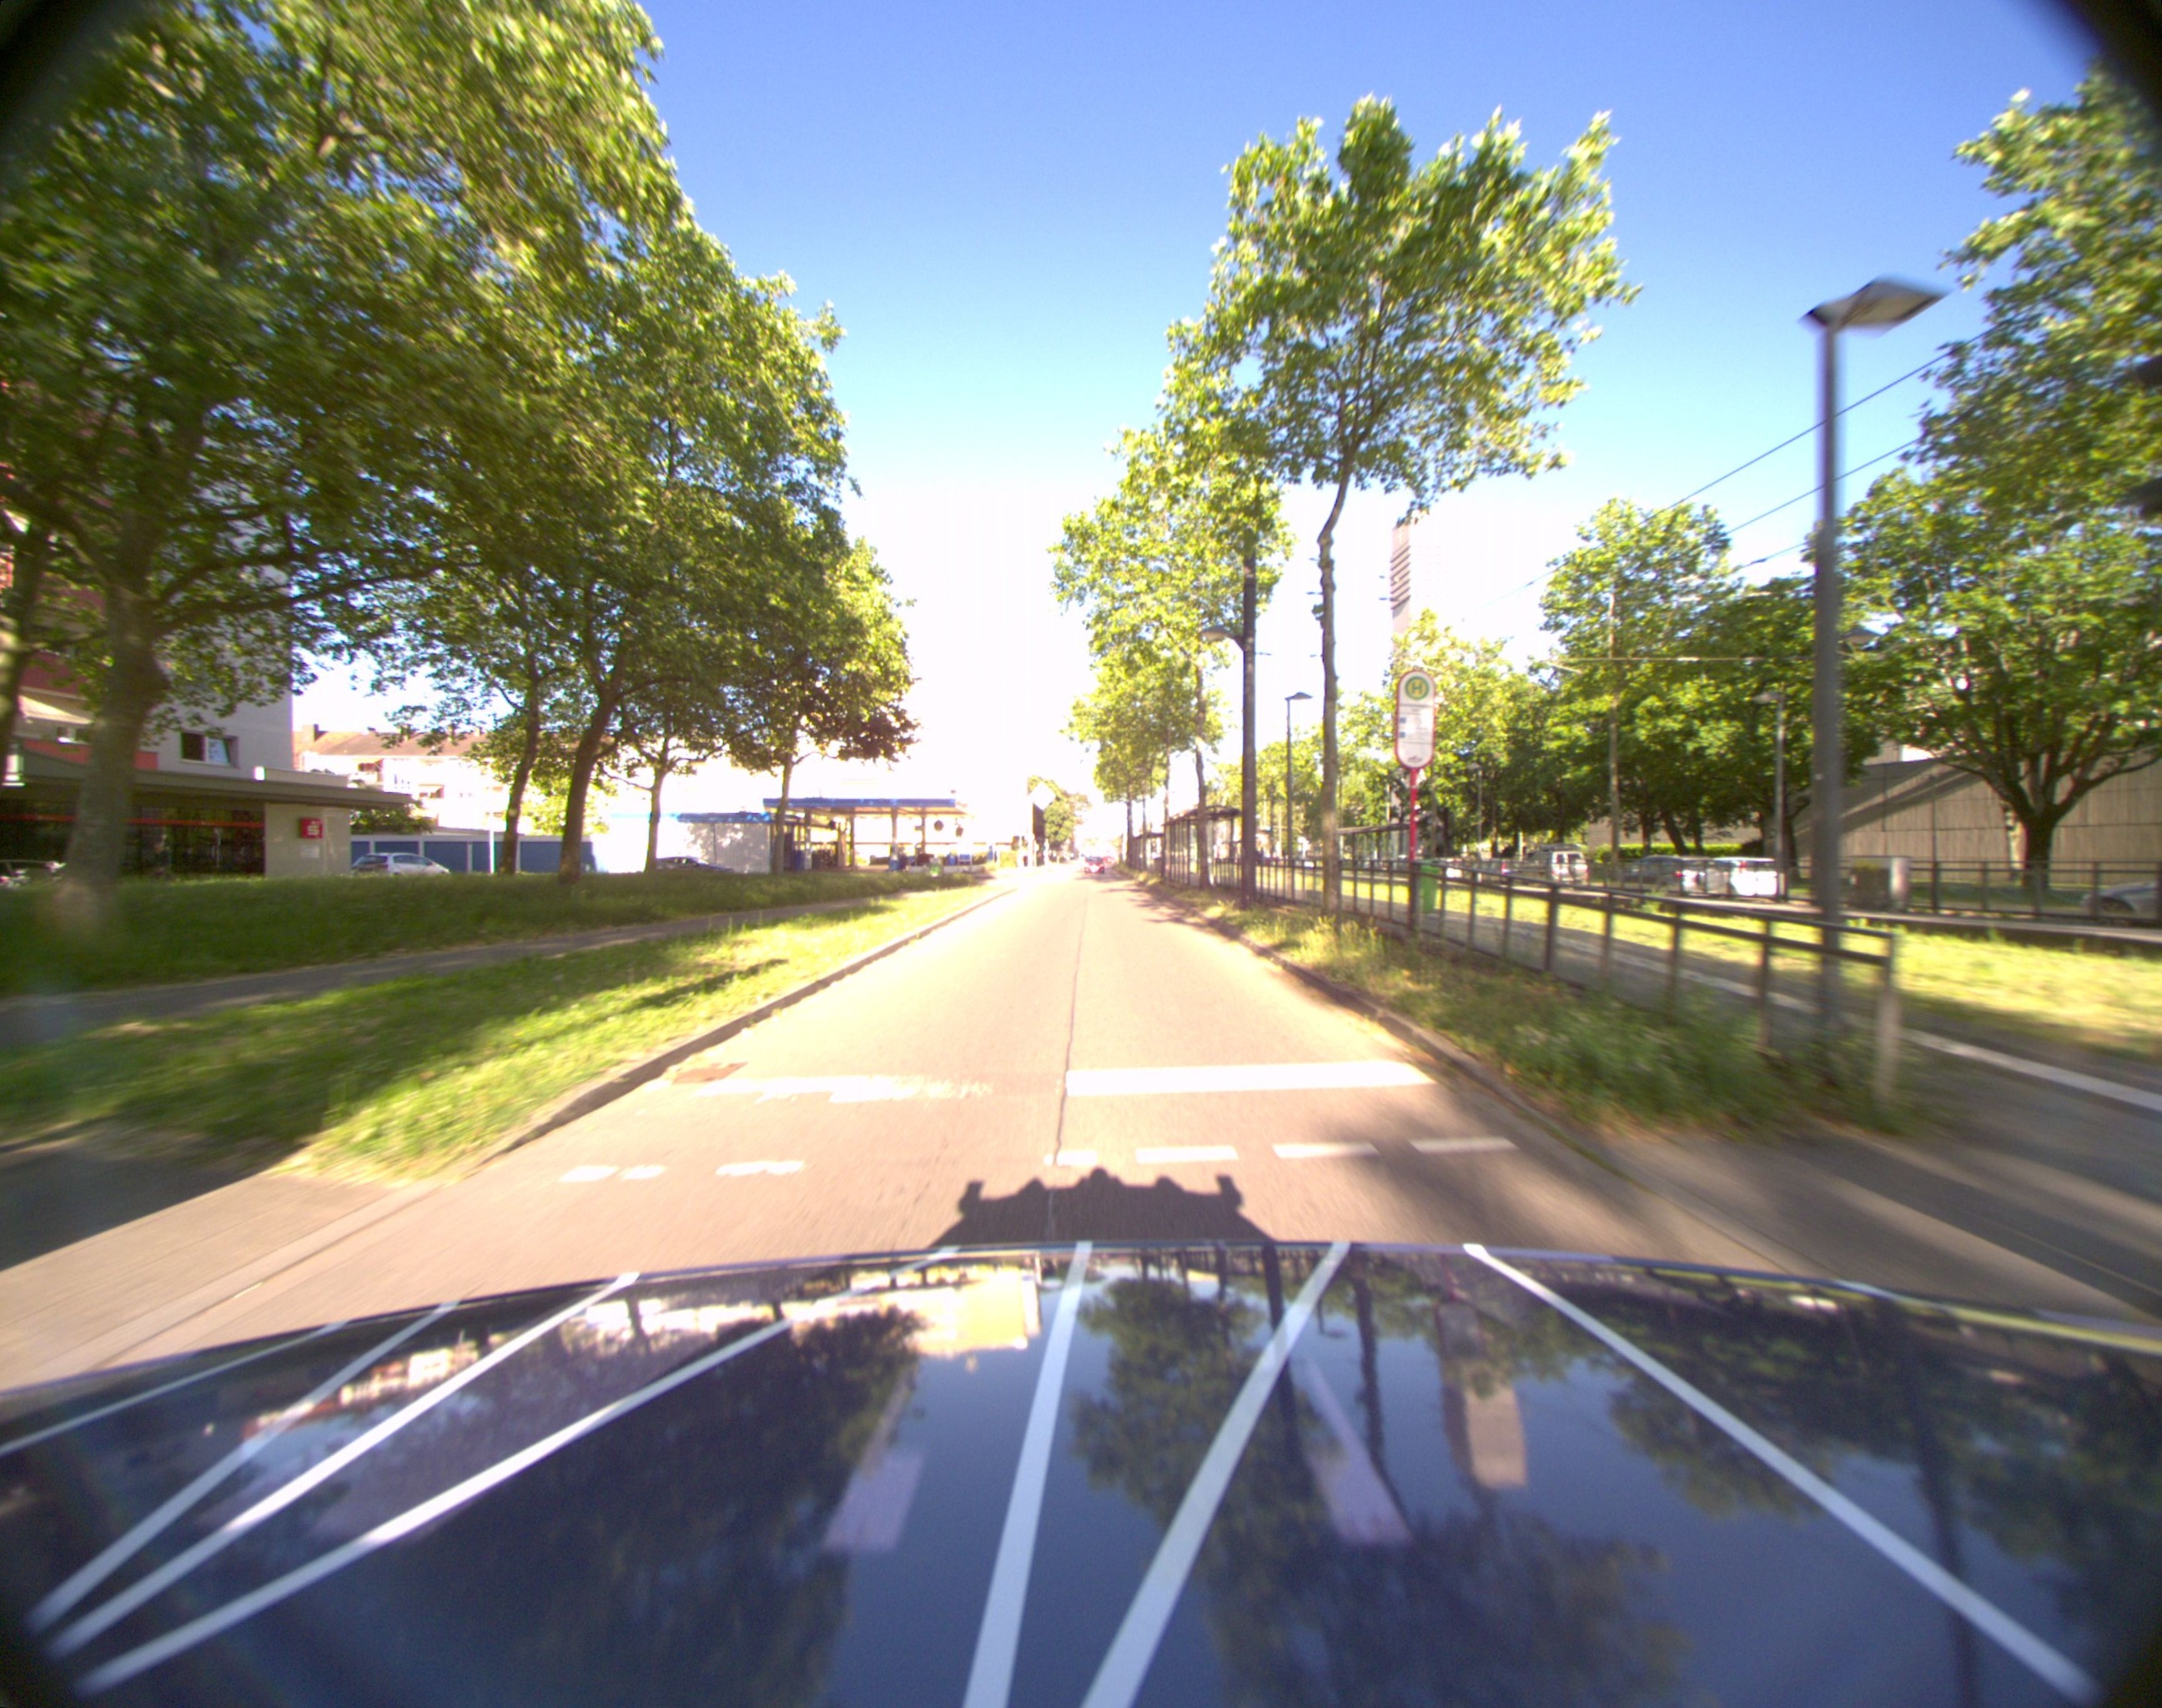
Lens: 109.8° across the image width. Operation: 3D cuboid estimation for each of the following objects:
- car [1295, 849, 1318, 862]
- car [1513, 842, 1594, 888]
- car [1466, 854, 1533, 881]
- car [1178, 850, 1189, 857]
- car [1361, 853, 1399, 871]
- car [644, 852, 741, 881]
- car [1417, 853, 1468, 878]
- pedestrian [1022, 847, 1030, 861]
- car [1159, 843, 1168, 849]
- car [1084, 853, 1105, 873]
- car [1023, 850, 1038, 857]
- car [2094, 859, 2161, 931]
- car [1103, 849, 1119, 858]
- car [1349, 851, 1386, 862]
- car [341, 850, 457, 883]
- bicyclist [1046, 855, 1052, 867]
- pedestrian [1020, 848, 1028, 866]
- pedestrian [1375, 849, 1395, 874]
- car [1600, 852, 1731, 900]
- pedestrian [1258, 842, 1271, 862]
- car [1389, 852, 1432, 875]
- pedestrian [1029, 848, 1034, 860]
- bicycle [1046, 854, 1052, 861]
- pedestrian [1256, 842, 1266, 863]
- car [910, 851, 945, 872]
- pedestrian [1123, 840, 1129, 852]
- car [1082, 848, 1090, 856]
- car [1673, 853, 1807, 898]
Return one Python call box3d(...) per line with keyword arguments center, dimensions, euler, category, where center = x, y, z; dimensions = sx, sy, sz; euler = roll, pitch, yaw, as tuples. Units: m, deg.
box3d(center=(22.346, 0.105, 75.285), dimensions=(1.266, 1.234, 3.376), euler=(0, 0, 0), category="car")
box3d(center=(23.949, 0.517, 38.684), dimensions=(1.718, 2.249, 3.933), euler=(0, 0, 0), category="car")
box3d(center=(23.835, 0.737, 43.442), dimensions=(1.598, 1.480, 4.019), euler=(0, 0, 0), category="car")
box3d(center=(18.585, -0.089, 138.189), dimensions=(1.328, 1.317, 3.415), euler=(0, 1, -5), category="car")
box3d(center=(24.241, 0.641, 61.687), dimensions=(1.597, 1.436, 3.930), euler=(0, 0, 2), category="car")
box3d(center=(-20.902, 0.653, 41.017), dimensions=(4.201, 1.522, 1.983), euler=(0, 1, -1), category="car")
box3d(center=(23.983, 0.734, 50.550), dimensions=(1.598, 1.626, 3.930), euler=(0, 0, 1), category="car")
box3d(center=(-7.048, 0.024, 97.670), dimensions=(0.790, 1.817, 1.032), euler=(1, 2, -16), category="pedestrian")
box3d(center=(25.199, -2.398, 232.090), dimensions=(2.144, 1.697, 5.402), euler=(0, 1, 1), category="car")
box3d(center=(1.135, 0.724, 61.737), dimensions=(1.619, 1.537, 4.277), euler=(0, 1, 2), category="car")
box3d(center=(-10.640, -0.140, 160.438), dimensions=(1.997, 1.316, 4.280), euler=(0, 1, 10), category="car")
box3d(center=(23.975, 0.893, 15.265), dimensions=(1.718, 1.537, 4.200), euler=(0, 0, 2), category="car")
box3d(center=(5.093, -0.077, 130.714), dimensions=(1.545, 1.522, 3.596), euler=(-2, 1, -19), category="car")
box3d(center=(40.818, 0.336, 108.329), dimensions=(4.525, 1.478, 2.000), euler=(0, 1, 1), category="car")
box3d(center=(-32.964, 0.555, 36.894), dimensions=(1.874, 1.495, 4.113), euler=(0, 1, 0), category="car")
box3d(center=(-4.112, 0.922, 97.719), dimensions=(0.678, 1.466, 0.936), euler=(0, 1, 0), category="bicyclist")
box3d(center=(-5.579, 0.289, 74.376), dimensions=(0.605, 1.692, 0.552), euler=(0, 1, 5), category="pedestrian")
box3d(center=(15.646, 0.401, 39.054), dimensions=(0.838, 1.253, 0.801), euler=(-1, 1, 30), category="pedestrian")
box3d(center=(20.447, 0.708, 26.801), dimensions=(1.718, 1.537, 3.934), euler=(0, 0, 3), category="car")
box3d(center=(15.744, -0.148, 65.241), dimensions=(0.885, 1.680, 0.754), euler=(-1, 1, 2), category="pedestrian")
box3d(center=(24.376, 0.686, 56.316), dimensions=(1.597, 1.623, 3.930), euler=(0, 0, 2), category="car")
box3d(center=(-6.430, 0.013, 97.900), dimensions=(0.505, 1.537, 0.518), euler=(1, 2, -16), category="pedestrian")
box3d(center=(-4.121, 0.444, 97.757), dimensions=(0.684, 0.925, 1.736), euler=(0, 0, 0), category="bicycle")
box3d(center=(15.642, -0.154, 66.177), dimensions=(0.722, 1.856, 0.637), euler=(-1, 1, 2), category="pedestrian")
box3d(center=(-11.270, 0.524, 56.036), dimensions=(1.724, 1.455, 4.005), euler=(0, 1, 1), category="car")
box3d(center=(5.362, -0.949, 90.748), dimensions=(0.660, 1.520, 0.538), euler=(0, 1, -6), category="pedestrian")
box3d(center=(1.164, -0.457, 187.397), dimensions=(1.998, 1.806, 4.000), euler=(-1, 1, 1), category="car")
box3d(center=(24.292, 0.745, 28.212), dimensions=(1.717, 1.537, 3.934), euler=(0, 0, 4), category="car")
